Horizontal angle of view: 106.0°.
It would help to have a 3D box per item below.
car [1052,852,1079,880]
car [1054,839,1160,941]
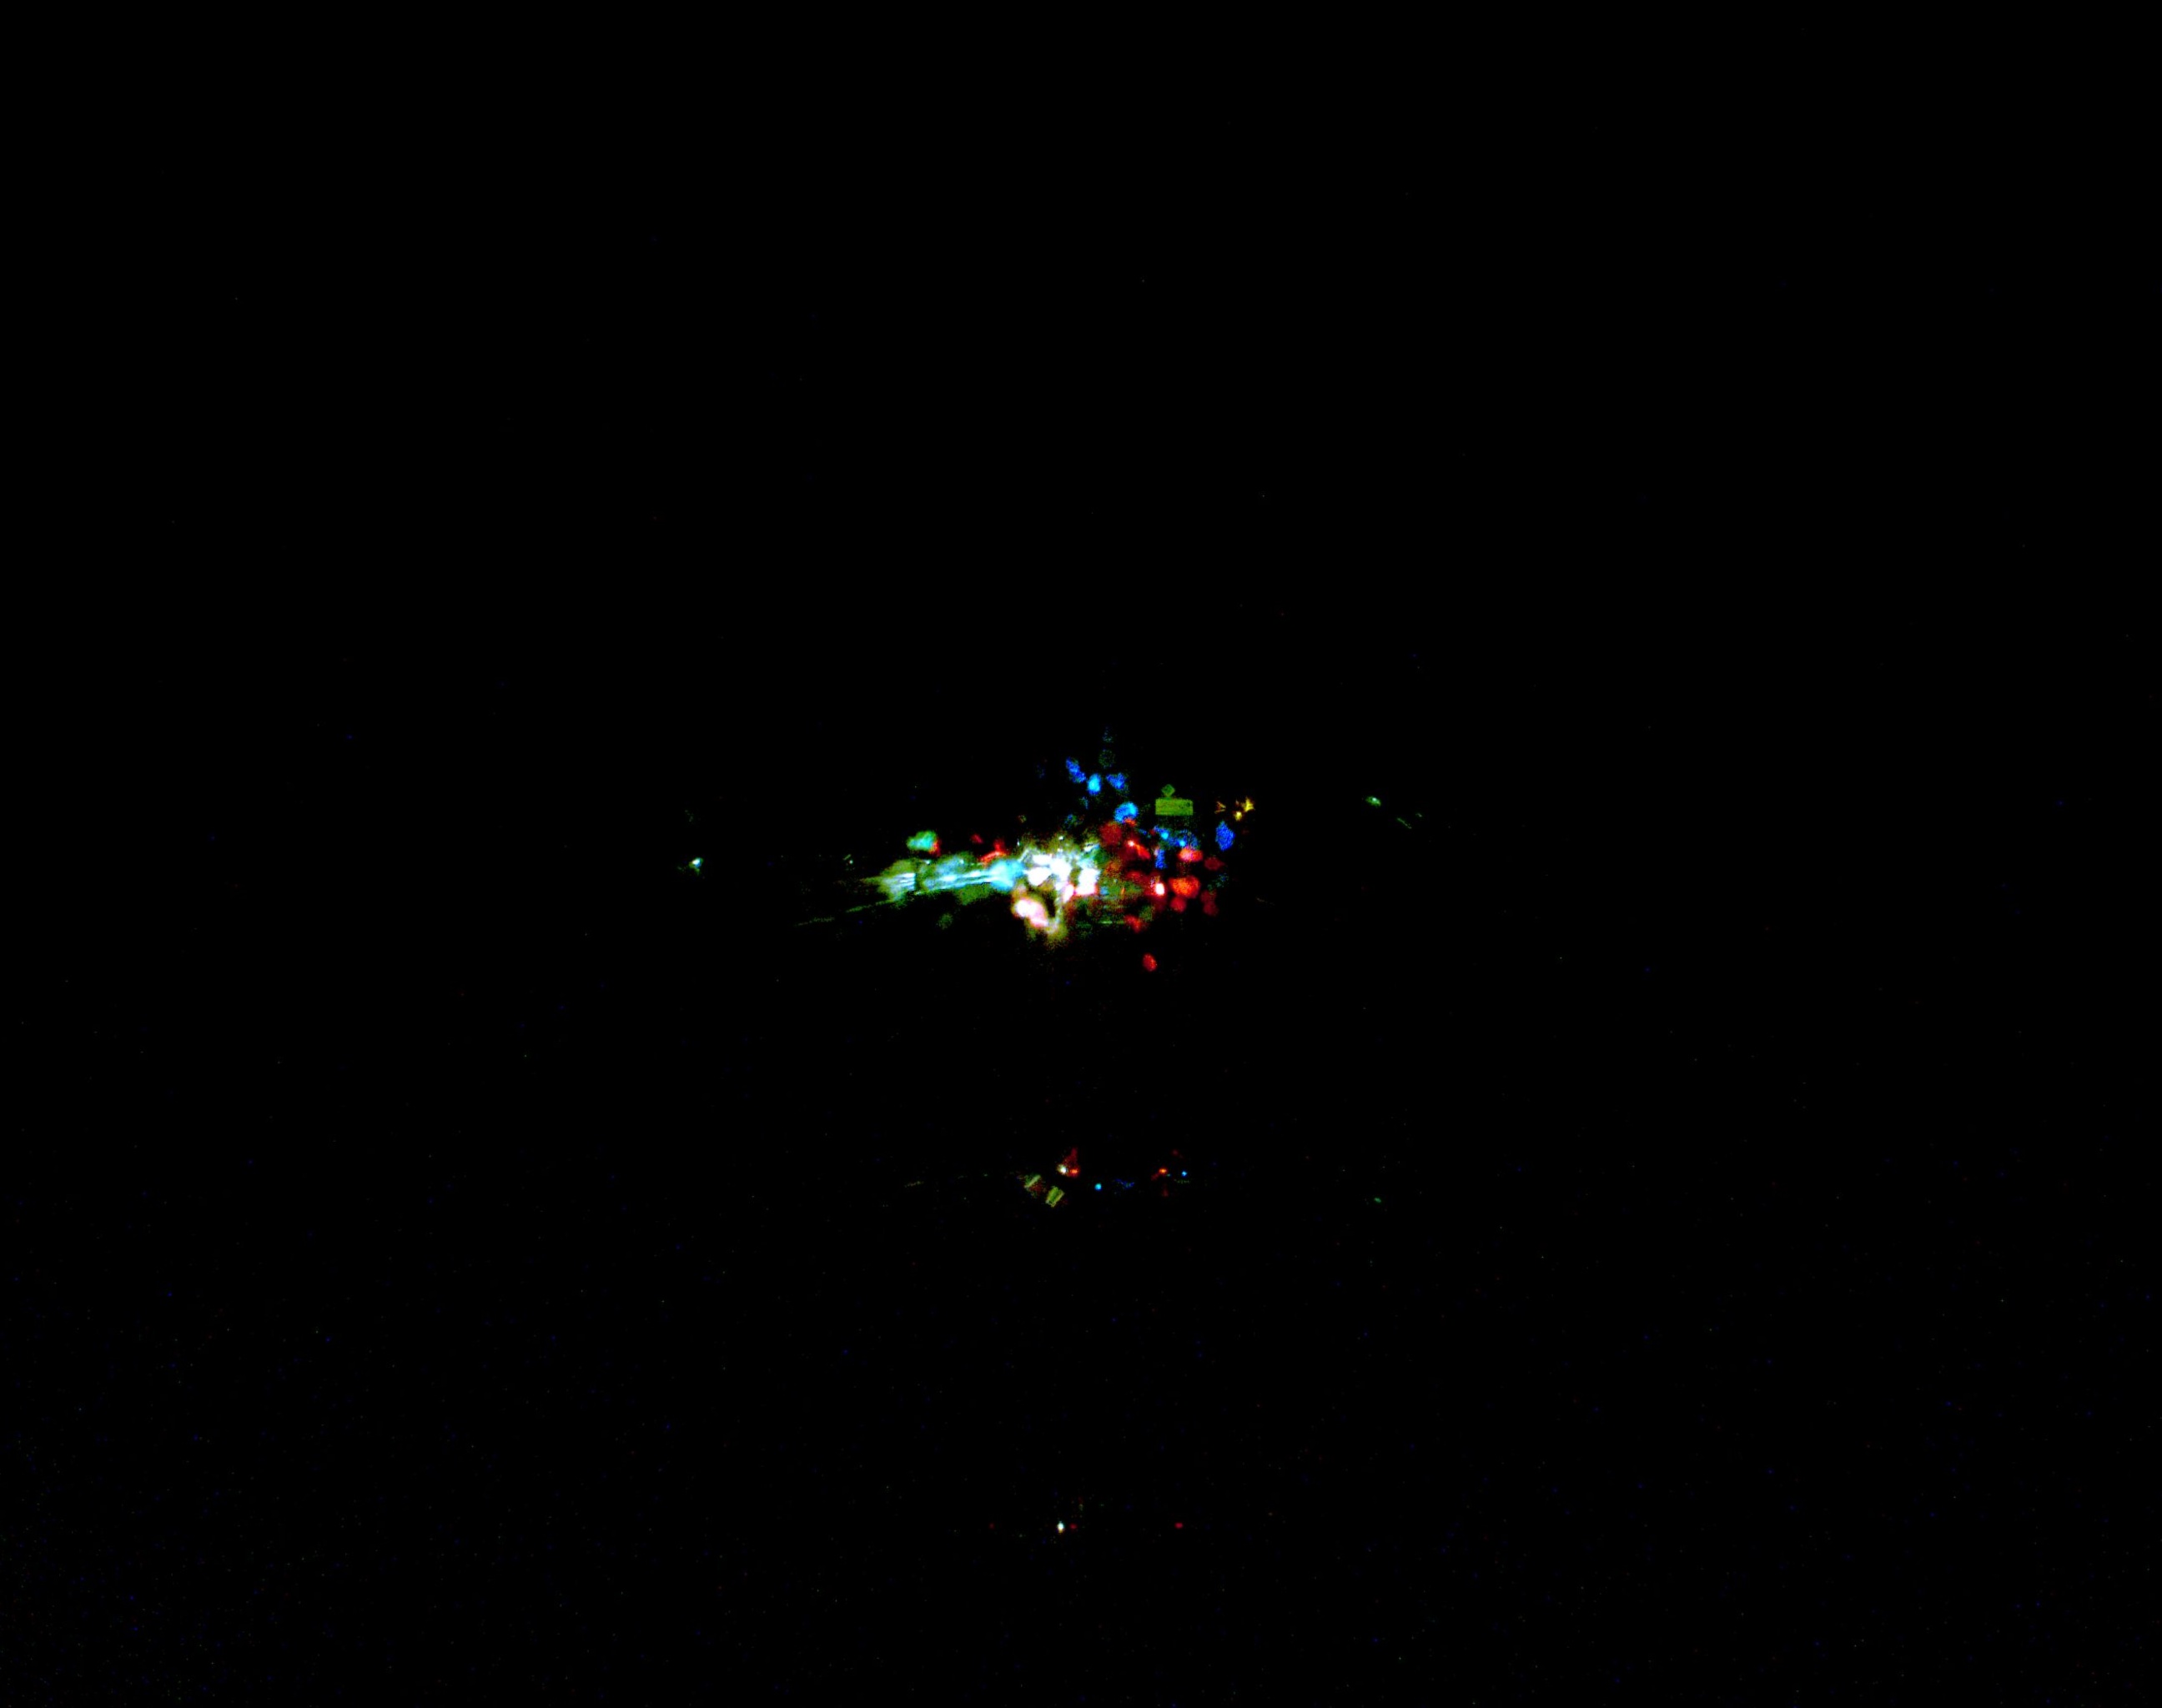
[{"bbox_3d":[-1.298,0.980,65.186,1.989,2.014,3.995,-2,-3,-3],"label":"car"},{"bbox_3d":[0.455,0.625,15.764,1.769,1.712,4.000,0,-1,0],"label":"car"}]
